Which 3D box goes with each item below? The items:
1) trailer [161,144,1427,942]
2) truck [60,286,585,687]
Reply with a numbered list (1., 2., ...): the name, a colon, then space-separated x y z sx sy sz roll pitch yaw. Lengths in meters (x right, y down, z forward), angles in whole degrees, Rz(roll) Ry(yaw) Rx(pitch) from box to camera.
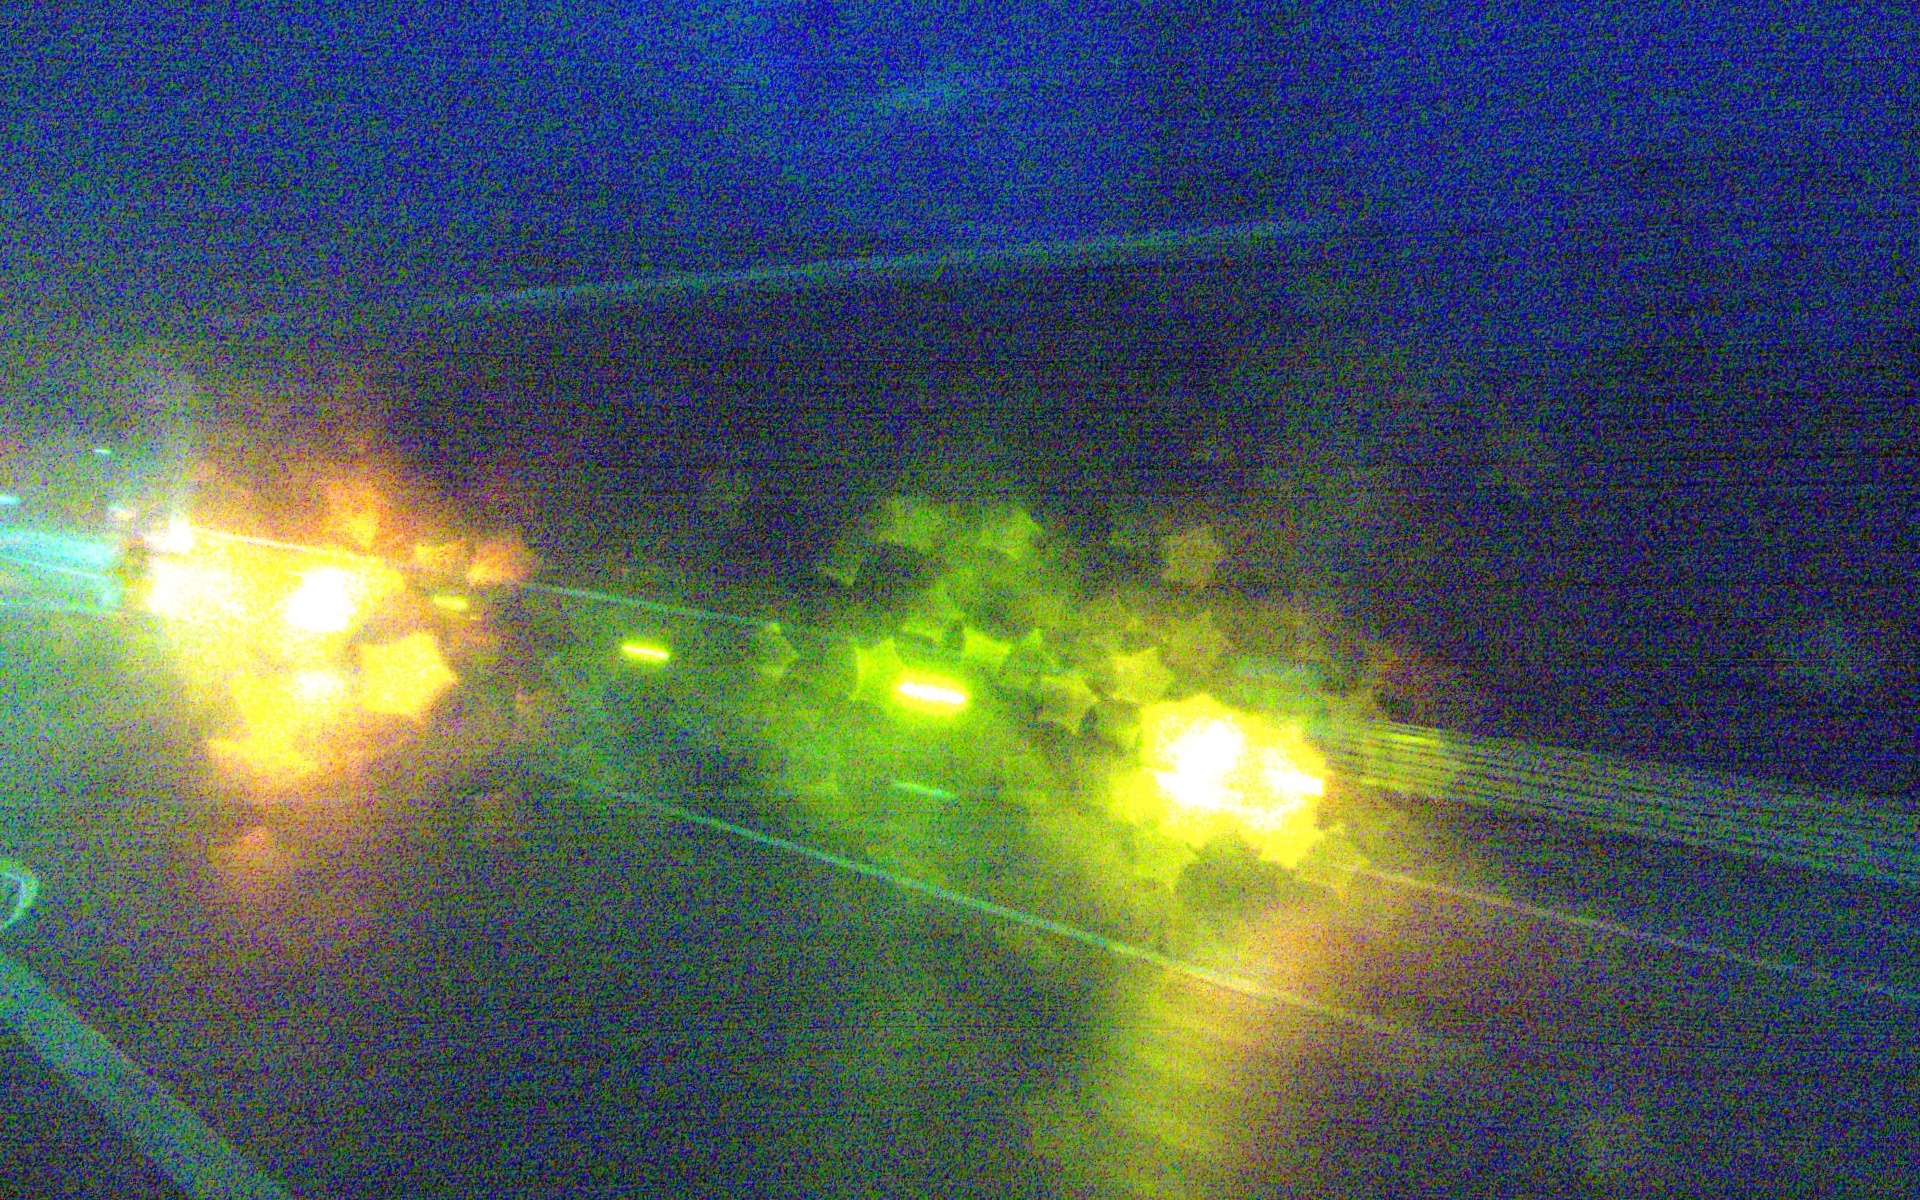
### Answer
1. trailer: -3.088 -0.784 9.959 13.416 4.145 2.870 6 -2 32
2. truck: -8.758 -1.425 13.590 6.898 4.150 2.865 7 -2 32
